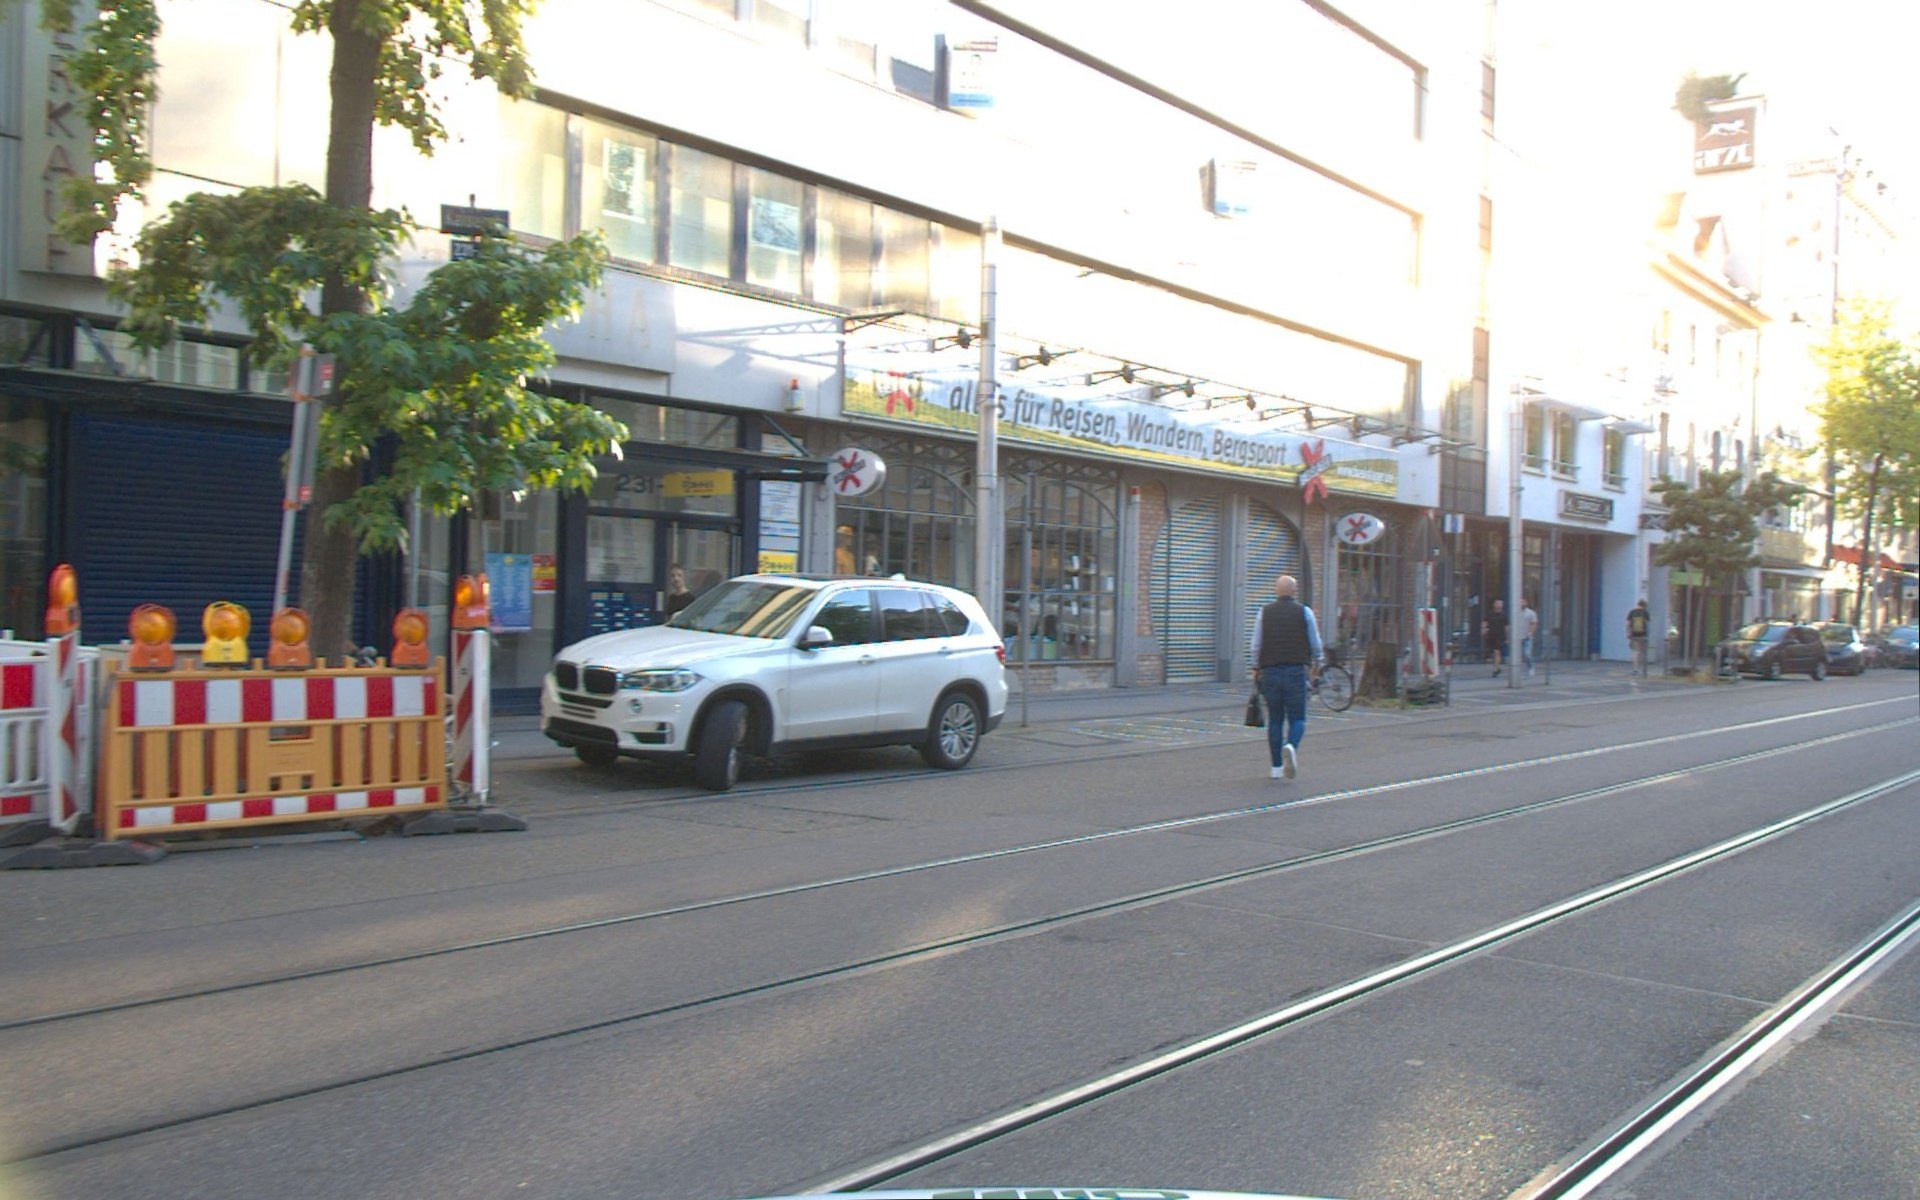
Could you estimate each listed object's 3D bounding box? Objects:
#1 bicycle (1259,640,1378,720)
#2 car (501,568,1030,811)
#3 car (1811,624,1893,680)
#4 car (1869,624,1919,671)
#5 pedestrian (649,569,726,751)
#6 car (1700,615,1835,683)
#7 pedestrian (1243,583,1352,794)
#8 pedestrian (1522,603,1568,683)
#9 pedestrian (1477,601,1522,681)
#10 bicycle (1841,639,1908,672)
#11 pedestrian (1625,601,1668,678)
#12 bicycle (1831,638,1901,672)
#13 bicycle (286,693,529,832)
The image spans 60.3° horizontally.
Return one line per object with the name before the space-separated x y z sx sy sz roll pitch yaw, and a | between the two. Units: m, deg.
bicycle | 5.293 1.167 24.526 0.474 1.009 1.724 1 3 -42
car | -1.580 0.706 15.074 1.963 1.784 4.721 3 1 39
car | 26.728 1.535 49.489 1.761 1.516 4.229 3 1 33
car | 32.834 1.650 57.118 1.685 1.486 4.462 3 1 40
pedestrian | -3.132 0.673 19.002 0.604 2.049 0.589 0 -1 38
car | 21.219 1.284 43.424 3.666 1.644 1.615 2 1 -36
pedestrian | 2.974 0.759 14.640 0.832 1.797 0.832 1 -1 5
pedestrian | 12.950 0.946 36.617 0.633 1.742 0.824 2 0 43
pedestrian | 12.037 0.905 36.893 0.618 1.742 0.802 2 0 43
bicycle | 30.558 1.854 55.278 1.942 1.019 0.328 1 -1 43
pedestrian | 16.975 0.971 40.884 0.650 1.857 0.874 4 1 40
bicycle | 29.343 1.786 53.596 1.943 1.019 0.328 1 -1 43
bicycle | -3.842 1.111 11.584 1.523 0.852 0.495 2 1 -45
